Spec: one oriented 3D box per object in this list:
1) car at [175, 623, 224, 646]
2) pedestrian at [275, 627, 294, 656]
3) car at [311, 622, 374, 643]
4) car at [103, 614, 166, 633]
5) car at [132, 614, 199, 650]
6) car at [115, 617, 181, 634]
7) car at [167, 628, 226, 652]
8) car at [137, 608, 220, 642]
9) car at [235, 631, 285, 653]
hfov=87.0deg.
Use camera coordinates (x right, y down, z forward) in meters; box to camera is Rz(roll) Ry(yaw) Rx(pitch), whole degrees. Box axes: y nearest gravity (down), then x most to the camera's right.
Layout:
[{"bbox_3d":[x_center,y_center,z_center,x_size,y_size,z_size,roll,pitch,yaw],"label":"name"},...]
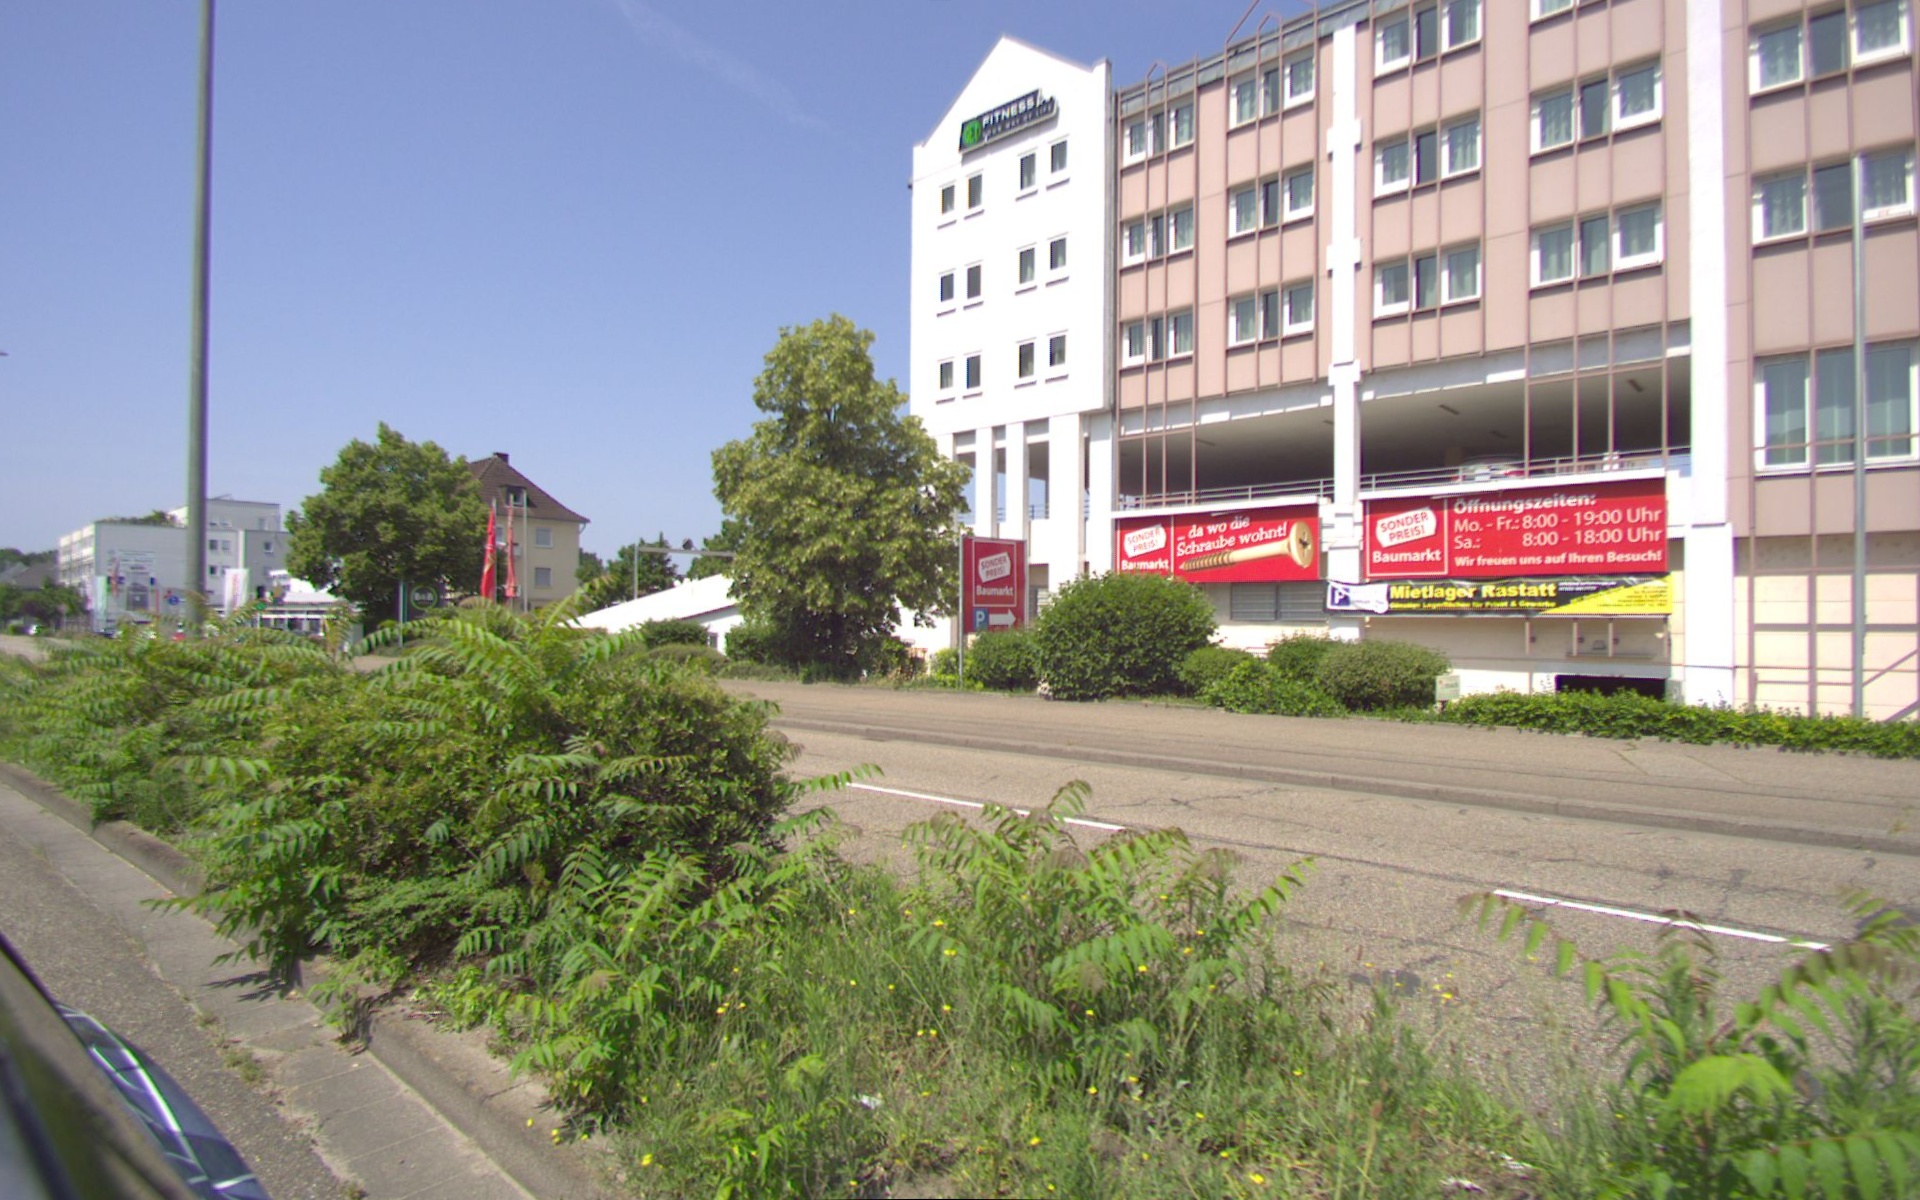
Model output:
[{"bbox_3d":[-49.408,2.210,65.734,4.760,1.421,1.756,-2,-3,44],"label":"car"},{"bbox_3d":[-40.529,2.473,60.709,0.732,1.760,1.034,2,-2,-45],"label":"pedestrian"},{"bbox_3d":[-50.118,2.648,82.163,1.865,1.627,3.944,-1,-2,42],"label":"car"},{"bbox_3d":[-70.671,2.003,86.666,1.926,1.621,3.941,-1,-2,45],"label":"car"},{"bbox_3d":[-63.671,2.545,81.209,1.740,1.632,3.999,2,18,8],"label":"car"},{"bbox_3d":[-66.775,2.121,83.277,1.859,1.405,3.945,-1,-2,41],"label":"car"},{"bbox_3d":[-54.832,2.875,72.784,1.809,1.655,4.189,1,-2,-13],"label":"car"},{"bbox_3d":[-58.241,1.825,75.482,1.761,1.720,4.500,0,10,45],"label":"car"},{"bbox_3d":[-46.579,2.768,67.335,3.997,1.361,1.715,-1,-2,40],"label":"car"}]
